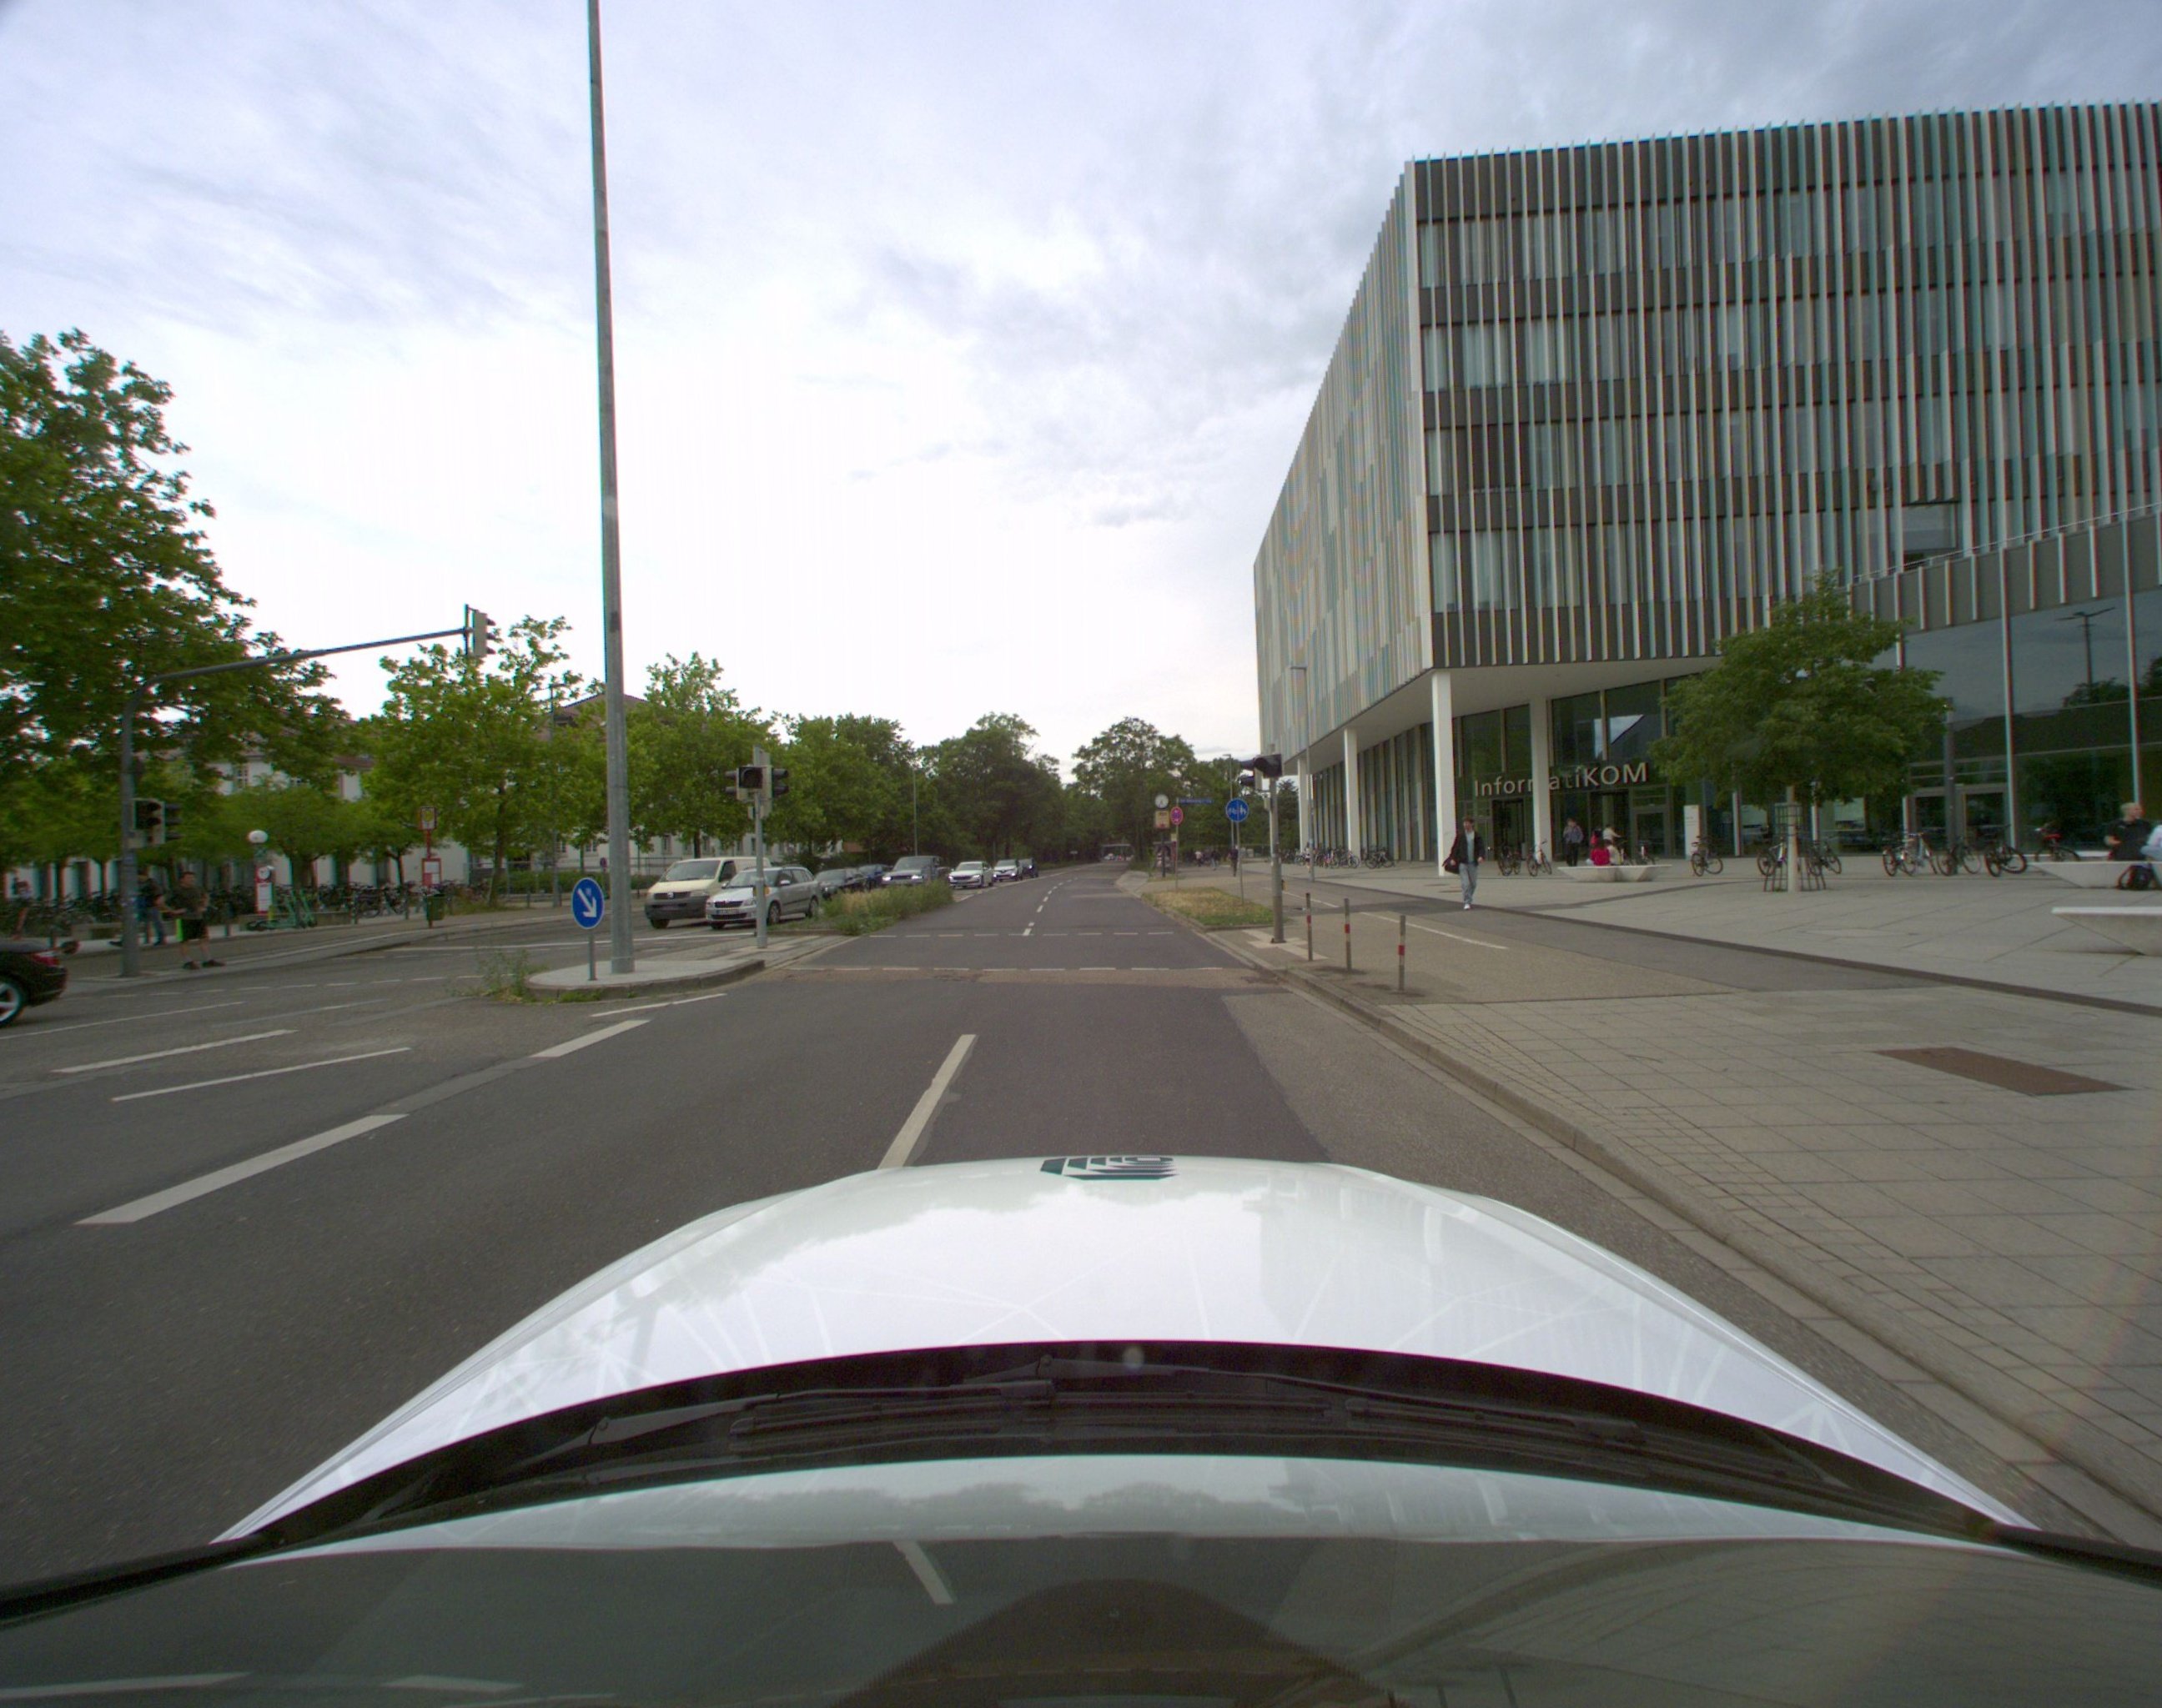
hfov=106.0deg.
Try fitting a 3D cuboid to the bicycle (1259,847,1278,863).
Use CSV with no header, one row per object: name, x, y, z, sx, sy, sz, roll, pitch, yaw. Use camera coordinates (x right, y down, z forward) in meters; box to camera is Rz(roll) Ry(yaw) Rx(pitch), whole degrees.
bicycle,17.616,0.094,76.578,1.634,1.333,0.465,-5,-1,17

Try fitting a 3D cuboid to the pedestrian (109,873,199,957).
pedestrian,-21.036,1.367,18.511,0.892,1.803,0.936,-3,-1,1

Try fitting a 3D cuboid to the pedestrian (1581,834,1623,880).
pedestrian,14.186,0.079,22.168,0.834,1.206,0.900,-3,-1,38

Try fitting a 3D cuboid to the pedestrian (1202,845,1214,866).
pedestrian,12.554,0.161,80.664,0.922,2.013,1.039,-2,-1,0

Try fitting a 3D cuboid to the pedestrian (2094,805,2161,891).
pedestrian,16.360,-0.093,12.342,0.904,1.257,0.880,0,0,7

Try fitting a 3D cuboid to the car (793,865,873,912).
car,-9.977,1.343,33.061,1.691,1.689,4.005,-3,0,4

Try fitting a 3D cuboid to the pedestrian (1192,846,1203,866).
pedestrian,11.607,0.190,81.040,0.922,2.013,1.039,-2,-1,0

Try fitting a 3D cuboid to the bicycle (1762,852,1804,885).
bicycle,15.535,0.315,18.011,1.700,0.632,0.427,-2,0,-40

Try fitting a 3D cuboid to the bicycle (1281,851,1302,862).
bicycle,17.554,0.225,68.067,1.596,0.884,0.517,-2,0,4

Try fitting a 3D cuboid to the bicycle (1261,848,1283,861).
bicycle,17.547,0.044,74.799,1.787,1.082,0.626,-4,0,2

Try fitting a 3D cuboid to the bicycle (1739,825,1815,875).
bicycle,19.788,-0.124,23.156,2.007,1.306,0.642,-4,1,-18

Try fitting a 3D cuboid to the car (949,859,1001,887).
car,-5.866,1.021,45.584,1.895,1.465,4.917,0,0,4

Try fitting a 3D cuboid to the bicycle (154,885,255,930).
bicycle,-34.142,2.069,31.750,2.655,1.559,0.920,-2,0,-7

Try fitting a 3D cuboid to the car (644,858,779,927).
car,-10.775,1.047,24.160,1.764,1.848,4.492,0,0,3

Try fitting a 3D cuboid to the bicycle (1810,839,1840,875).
bicycle,20.346,0.075,22.262,1.480,0.899,0.390,-2,0,-40

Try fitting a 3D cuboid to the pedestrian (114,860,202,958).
pedestrian,-19.612,1.138,17.328,0.800,2.013,0.925,0,0,-2

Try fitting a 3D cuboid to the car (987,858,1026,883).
car,-5.208,1.135,57.295,1.984,1.547,4.185,-4,0,4

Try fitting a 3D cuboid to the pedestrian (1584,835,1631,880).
pedestrian,14.680,0.091,22.734,0.884,1.193,0.849,-2,0,18

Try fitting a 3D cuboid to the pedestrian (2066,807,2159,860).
pedestrian,17.098,-0.329,13.520,0.629,0.823,0.737,-3,-1,20

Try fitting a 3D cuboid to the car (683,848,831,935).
car,-8.417,0.919,21.579,1.984,2.013,4.005,-3,0,4

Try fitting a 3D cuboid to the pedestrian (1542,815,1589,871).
pedestrian,18.203,-0.410,30.652,1.174,2.062,1.138,0,0,9

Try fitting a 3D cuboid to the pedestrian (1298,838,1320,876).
pedestrian,11.520,0.155,41.156,0.839,1.836,0.895,-2,-1,4

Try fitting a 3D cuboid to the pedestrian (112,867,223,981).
pedestrian,-17.138,1.283,15.306,0.890,2.013,1.010,-2,0,2

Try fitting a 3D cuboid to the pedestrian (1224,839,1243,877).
pedestrian,8.399,0.206,44.872,0.838,2.013,0.896,-4,-1,6

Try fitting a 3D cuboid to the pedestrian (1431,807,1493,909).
pedestrian,7.870,0.085,16.842,0.838,2.013,0.896,-2,-1,6

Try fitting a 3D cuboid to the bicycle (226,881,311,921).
bicycle,-34.328,1.978,34.448,2.441,1.559,0.920,-2,0,-7

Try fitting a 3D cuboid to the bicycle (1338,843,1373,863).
bicycle,17.982,-0.049,53.364,0.652,1.144,1.963,-4,0,-45

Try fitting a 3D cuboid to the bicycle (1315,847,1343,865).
bicycle,16.246,0.131,53.397,1.633,1.091,0.574,-5,-1,12

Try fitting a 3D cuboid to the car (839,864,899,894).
car,-12.210,1.391,47.246,1.849,1.607,4.600,0,0,6

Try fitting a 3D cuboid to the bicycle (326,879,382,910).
bicycle,-39.354,2.193,44.077,3.052,1.559,0.927,-2,0,21

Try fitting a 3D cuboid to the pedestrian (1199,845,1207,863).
pedestrian,13.616,0.030,90.854,0.820,2.013,0.721,-3,-1,3

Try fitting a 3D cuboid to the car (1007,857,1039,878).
car,-4.665,1.063,66.352,1.894,1.593,4.522,-3,0,4

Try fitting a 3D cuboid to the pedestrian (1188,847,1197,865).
pedestrian,12.406,0.216,90.636,0.821,2.013,0.720,-2,-1,0

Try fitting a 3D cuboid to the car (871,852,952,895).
car,-7.110,0.758,34.738,1.984,1.687,4.955,-1,0,5

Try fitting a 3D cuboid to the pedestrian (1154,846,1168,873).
pedestrian,6.343,0.423,64.355,0.908,2.013,0.854,-4,1,3

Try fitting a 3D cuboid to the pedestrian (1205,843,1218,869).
pedestrian,10.211,0.139,63.559,0.839,2.013,0.895,-2,-1,4

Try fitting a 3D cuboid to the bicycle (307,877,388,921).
bicycle,-28.478,1.733,31.654,2.190,1.559,0.898,-2,0,-7

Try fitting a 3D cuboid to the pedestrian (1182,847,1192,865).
pedestrian,11.859,0.224,90.905,0.922,2.013,1.039,-2,-1,0

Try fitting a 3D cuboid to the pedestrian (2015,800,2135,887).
pedestrian,16.149,-0.171,13.256,0.907,1.367,0.877,0,0,-6

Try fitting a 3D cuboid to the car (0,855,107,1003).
car,-13.101,0.871,8.002,1.981,1.619,4.012,-2,0,11

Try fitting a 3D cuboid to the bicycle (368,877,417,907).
bicycle,-38.784,2.135,45.860,2.635,1.559,0.927,-2,0,21

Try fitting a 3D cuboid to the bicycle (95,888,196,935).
bicycle,-34.213,2.104,29.809,2.651,1.559,0.780,-2,0,-2
